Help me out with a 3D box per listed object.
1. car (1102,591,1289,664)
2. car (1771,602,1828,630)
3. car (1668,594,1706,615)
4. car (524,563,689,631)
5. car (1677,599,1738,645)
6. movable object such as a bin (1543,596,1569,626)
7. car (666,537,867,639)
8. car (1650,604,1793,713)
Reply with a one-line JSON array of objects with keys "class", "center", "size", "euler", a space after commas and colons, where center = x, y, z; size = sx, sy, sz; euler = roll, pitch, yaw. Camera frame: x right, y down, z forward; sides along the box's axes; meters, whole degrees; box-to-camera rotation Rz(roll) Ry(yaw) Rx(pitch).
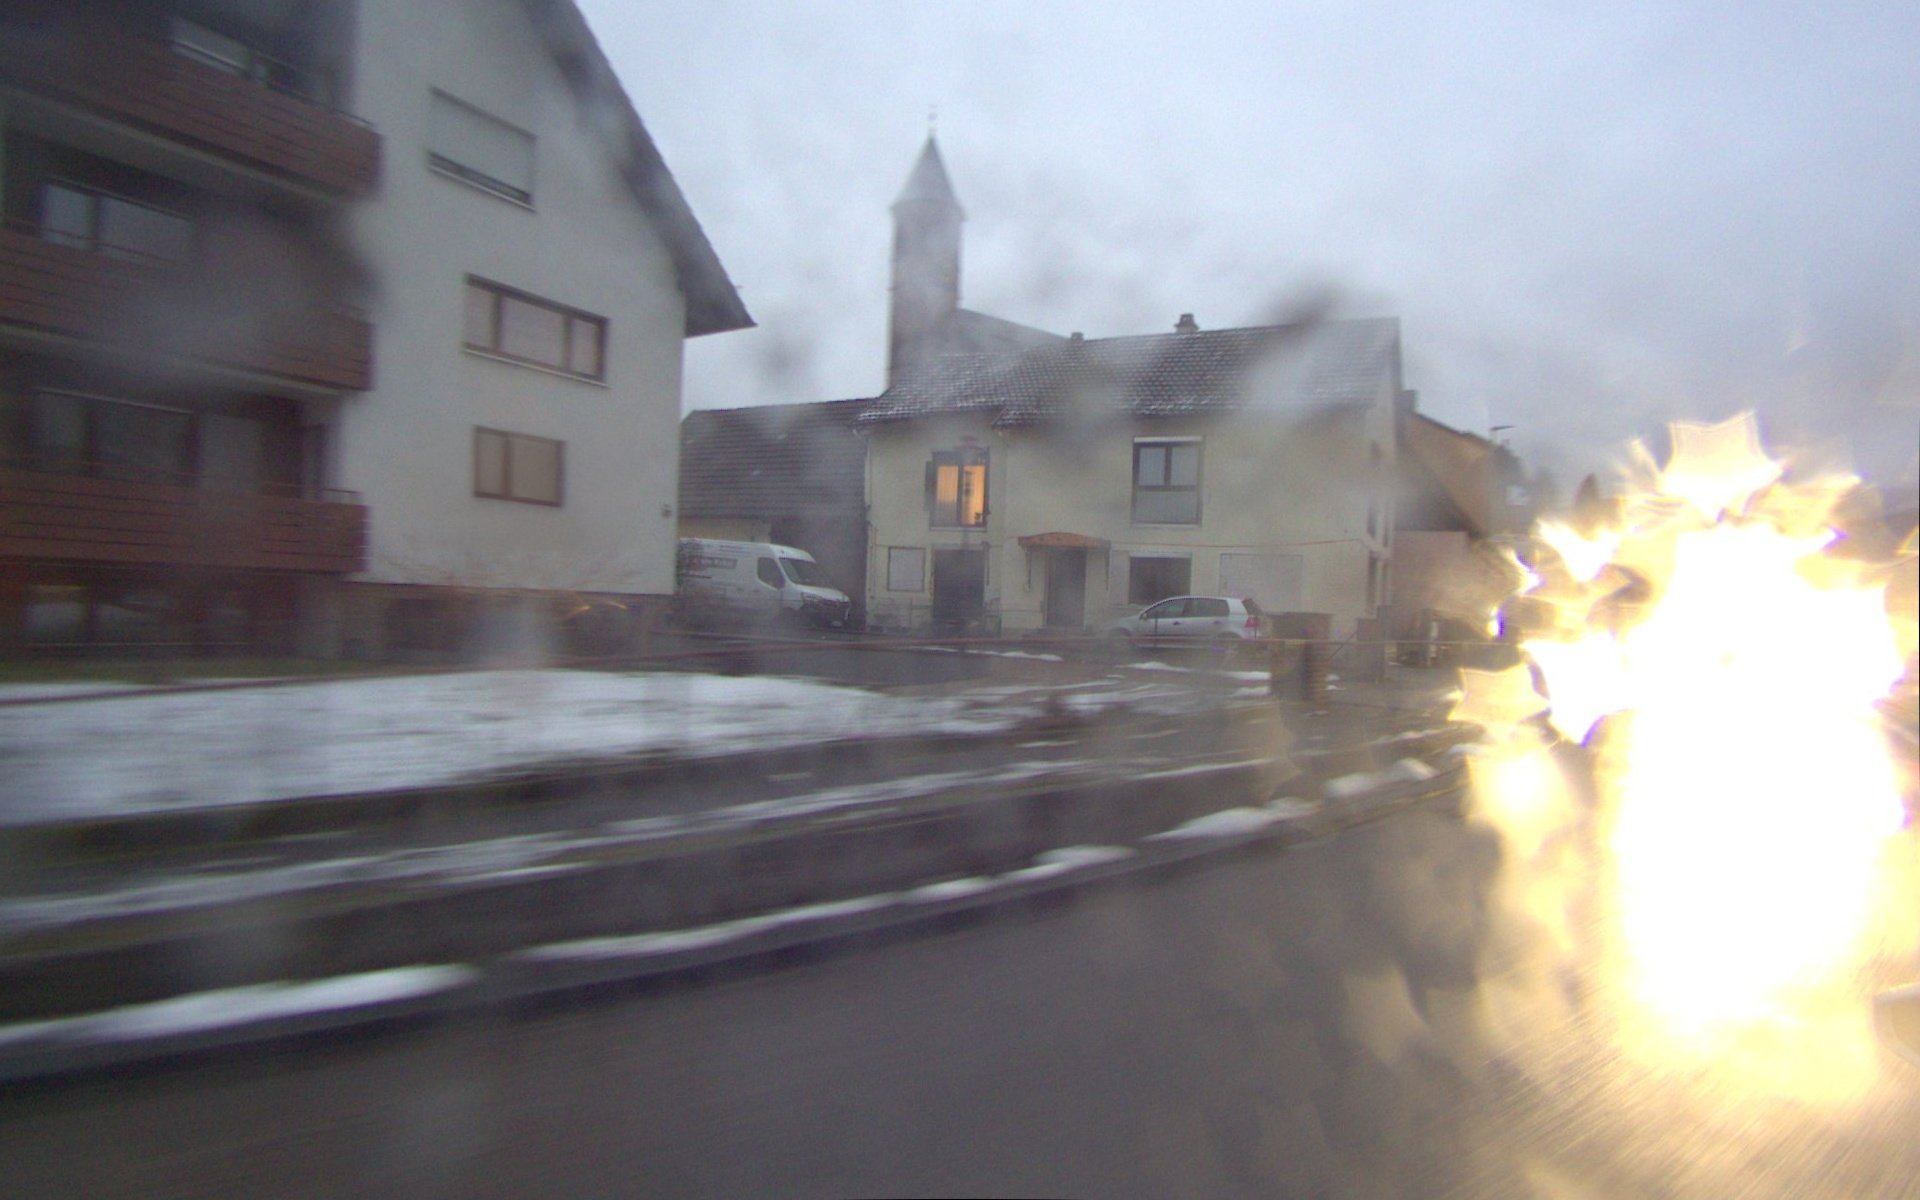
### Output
[{"class": "car", "center": [5.519, 0.585, 23.623], "size": [3.927, 1.482, 1.817], "euler": [2, 1, 28]}, {"class": "car", "center": [55.959, 1.045, 67.057], "size": [1.963, 1.666, 3.995], "euler": [2, 2, 26]}, {"class": "car", "center": [62.319, 0.396, 86.159], "size": [1.963, 1.666, 3.995], "euler": [2, 2, 26]}, {"class": "car", "center": [-8.762, -0.110, 24.813], "size": [3.932, 1.506, 1.815], "euler": [2, 1, 33]}, {"class": "car", "center": [30.818, 0.860, 41.420], "size": [1.888, 1.675, 3.984], "euler": [2, 2, 37]}, {"class": "movable object such as a bin", "center": [31.828, 0.561, 53.659], "size": [1.081, 1.564, 1.284], "euler": [2, 1, 35]}, {"class": "car", "center": [-5.347, -0.382, 27.542], "size": [5.260, 2.574, 2.208], "euler": [2, 1, 31]}, {"class": "car", "center": [13.731, 0.936, 18.320], "size": [1.852, 1.634, 4.587], "euler": [1, 1, 35]}]
